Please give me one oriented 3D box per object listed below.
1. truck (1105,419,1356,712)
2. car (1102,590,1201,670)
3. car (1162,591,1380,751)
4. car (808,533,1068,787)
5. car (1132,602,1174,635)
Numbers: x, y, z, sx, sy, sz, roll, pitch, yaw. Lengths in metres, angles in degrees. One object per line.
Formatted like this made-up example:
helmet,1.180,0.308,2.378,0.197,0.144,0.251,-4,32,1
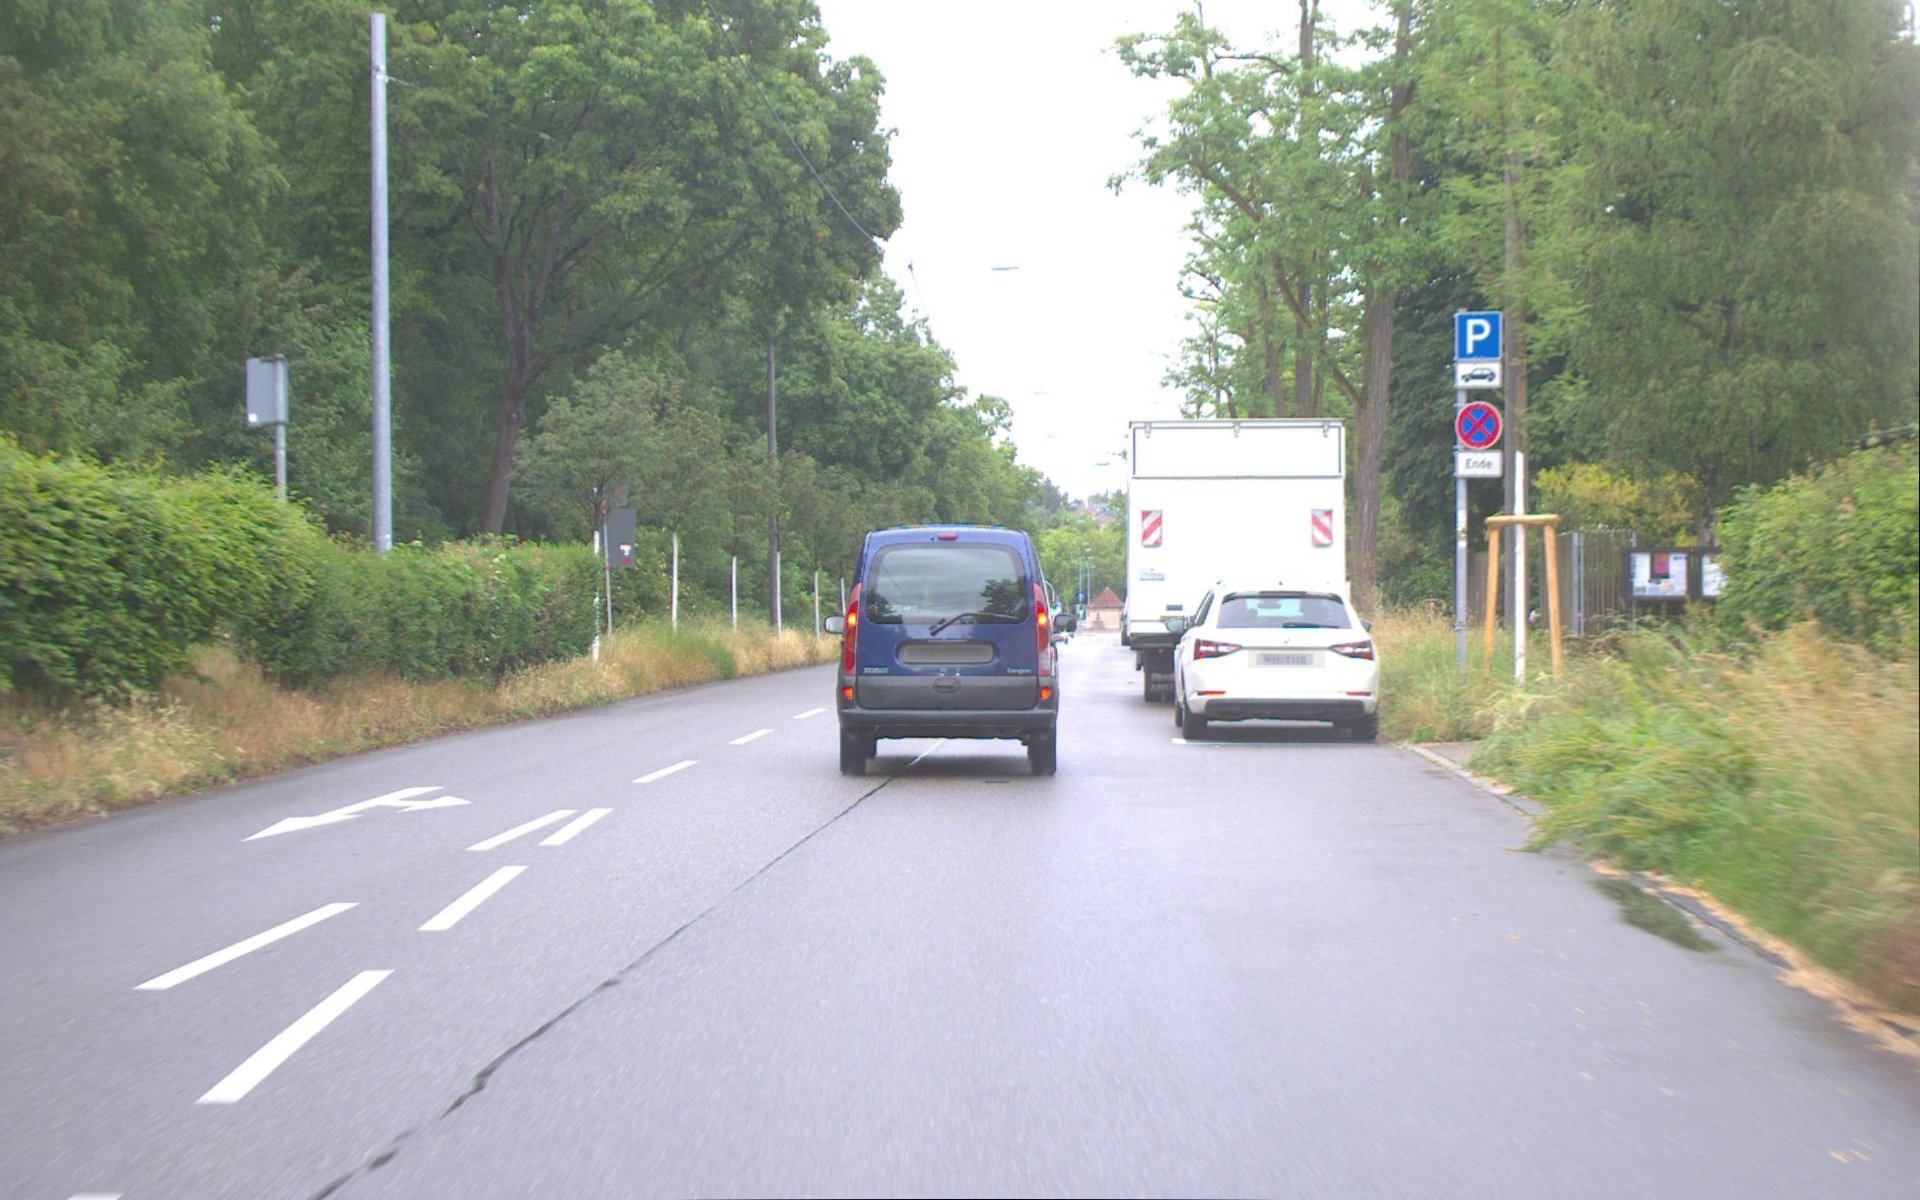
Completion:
truck,3.311,-0.422,43.626,2.731,3.375,6.685,-1,0,1
car,3.997,0.609,72.257,1.994,1.579,4.000,-1,0,3
car,2.908,0.632,32.906,1.813,1.376,4.284,-1,0,2
car,-0.243,0.420,26.629,1.808,1.791,4.000,-1,0,-3
car,9.651,0.925,172.281,1.994,1.579,4.000,-1,0,3
